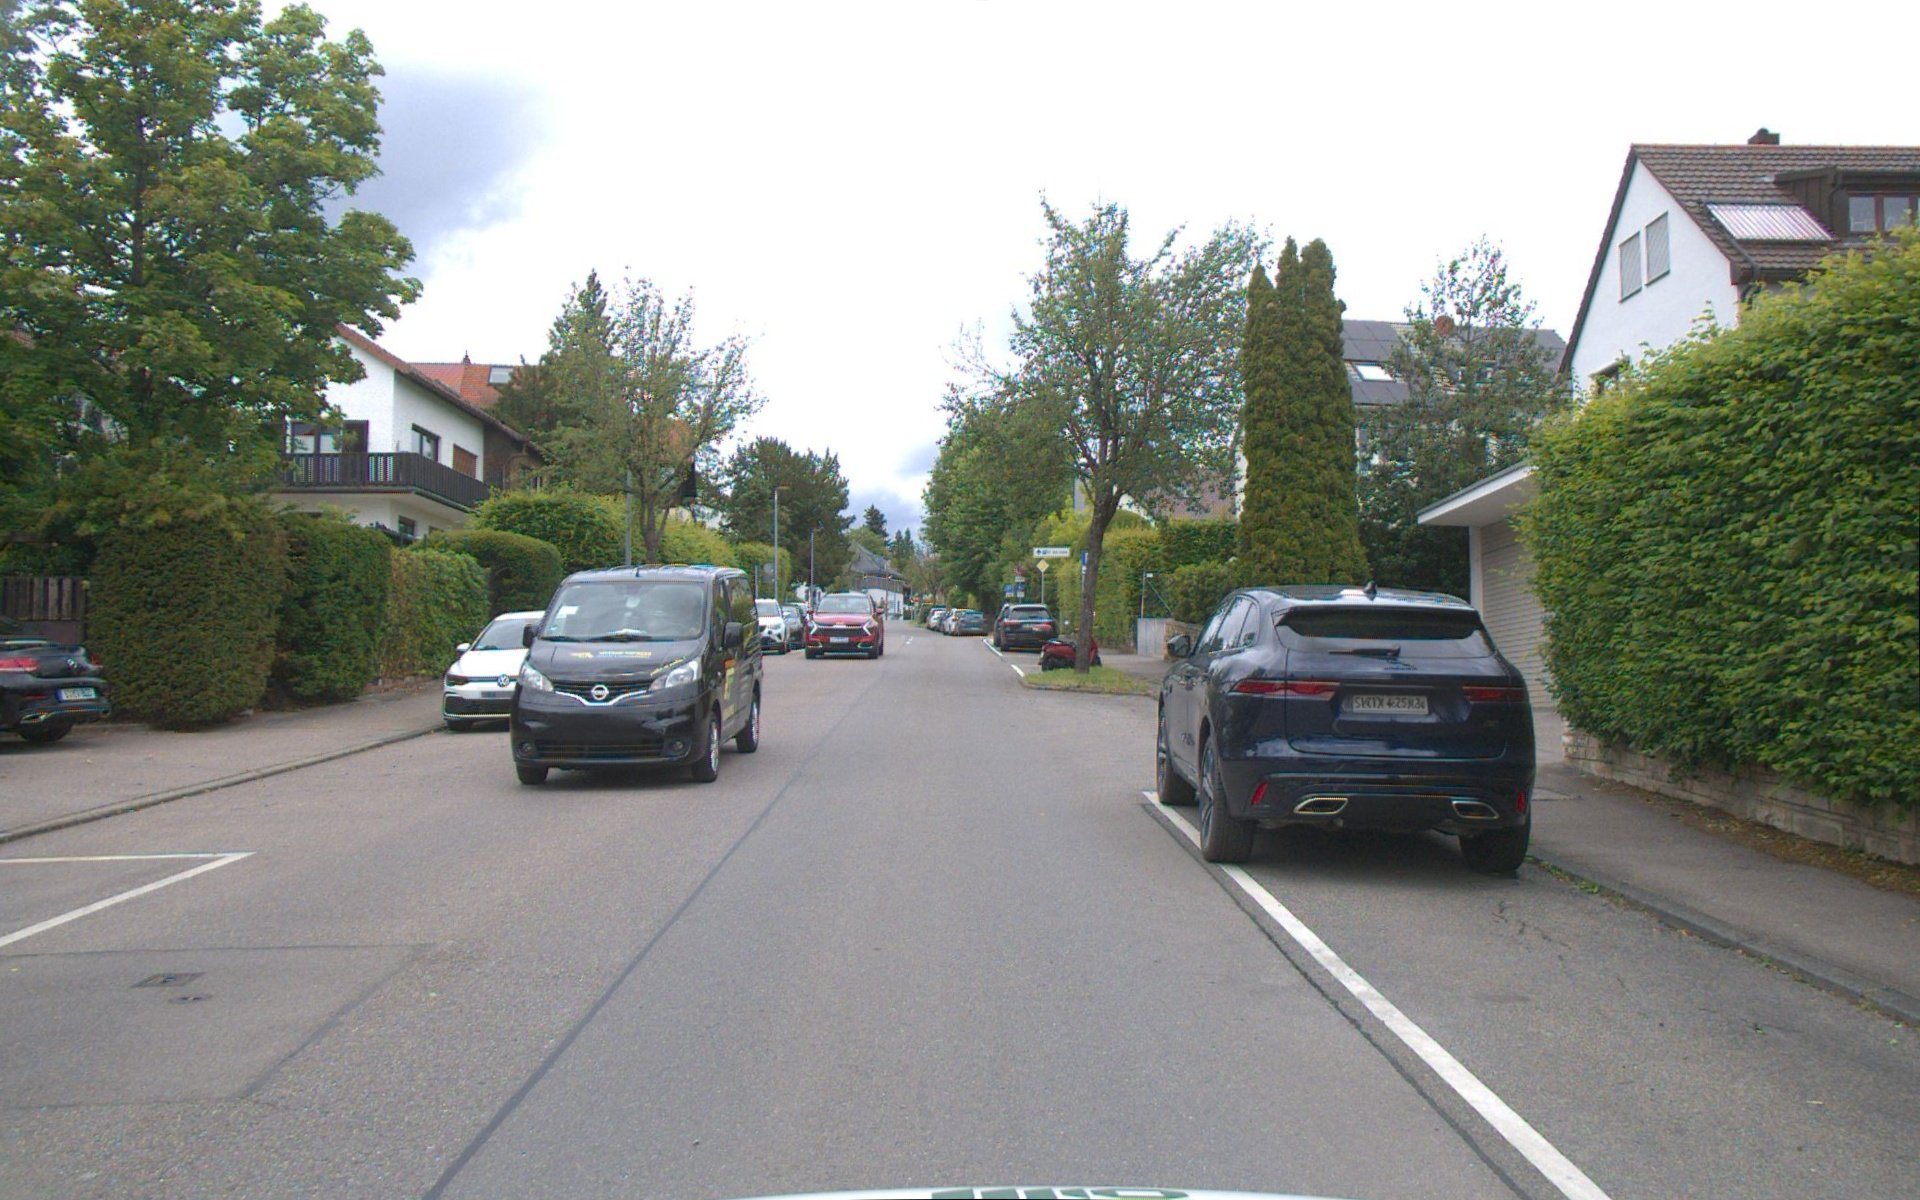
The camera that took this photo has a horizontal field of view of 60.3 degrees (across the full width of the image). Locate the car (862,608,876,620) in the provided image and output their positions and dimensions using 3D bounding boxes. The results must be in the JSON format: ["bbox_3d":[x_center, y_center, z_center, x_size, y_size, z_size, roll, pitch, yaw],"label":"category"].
[{"bbox_3d":[-11.980,1.838,216.982,1.786,1.445,3.996,0,0,-5],"label":"car"}]

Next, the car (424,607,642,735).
[{"bbox_3d":[-5.503,0.854,21.883,1.800,1.447,4.407,-2,0,-1],"label":"car"}]

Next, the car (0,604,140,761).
[{"bbox_3d":[-10.699,0.772,16.868,3.902,1.471,1.780,1,0,12],"label":"car"}]

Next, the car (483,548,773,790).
[{"bbox_3d":[-2.870,0.545,15.276,1.847,1.883,4.400,-1,0,-1],"label":"car"}]

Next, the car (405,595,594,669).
[{"bbox_3d":[-10.911,0.738,39.320,3.904,1.560,1.788,2,0,3],"label":"car"}]

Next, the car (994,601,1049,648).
[{"bbox_3d":[2.177,0.845,59.519,1.844,1.560,4.475,1,0,0],"label":"car"}]

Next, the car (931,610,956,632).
[{"bbox_3d":[-1.236,1.542,121.556,1.632,1.527,3.464,0,0,-5],"label":"car"}]

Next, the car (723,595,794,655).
[{"bbox_3d":[-5.623,0.669,46.541,1.688,1.567,3.998,-1,0,-3],"label":"car"}]

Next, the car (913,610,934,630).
[{"bbox_3d":[-3.174,1.726,143.272,1.611,1.697,3.464,0,0,-5],"label":"car"}]

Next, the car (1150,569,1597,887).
[{"bbox_3d":[2.494,0.709,11.202,1.952,1.646,4.514,2,0,1],"label":"car"}]

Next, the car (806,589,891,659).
[{"bbox_3d":[-2.841,0.594,42.935,1.901,1.676,4.257,-2,0,-1],"label":"car"}]

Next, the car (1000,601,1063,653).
[{"bbox_3d":[2.261,0.831,53.445,1.844,1.560,4.475,1,0,0],"label":"car"}]

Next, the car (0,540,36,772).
[{"bbox_3d":[-10.269,0.466,13.832,3.986,1.984,2.001,0,-2,7],"label":"car"}]

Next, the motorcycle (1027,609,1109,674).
[{"bbox_3d":[2.343,0.884,35.825,1.848,1.370,0.592,0,0,-37],"label":"motorcycle"}]

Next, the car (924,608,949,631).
[{"bbox_3d":[-1.837,1.507,128.369,1.632,1.697,3.464,0,0,-5],"label":"car"}]

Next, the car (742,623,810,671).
[{"bbox_3d":[-5.791,1.482,52.482,1.726,1.412,3.999,-2,-1,-1],"label":"car"}]

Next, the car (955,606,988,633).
[{"bbox_3d":[0.678,1.128,96.899,1.632,1.527,3.464,0,0,-5],"label":"car"}]

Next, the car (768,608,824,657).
[{"bbox_3d":[-5.669,1.096,57.475,1.597,1.550,3.637,-2,0,-1],"label":"car"}]

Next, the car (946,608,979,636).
[{"bbox_3d":[0.140,1.331,101.320,1.680,1.686,3.619,0,0,-5],"label":"car"}]
